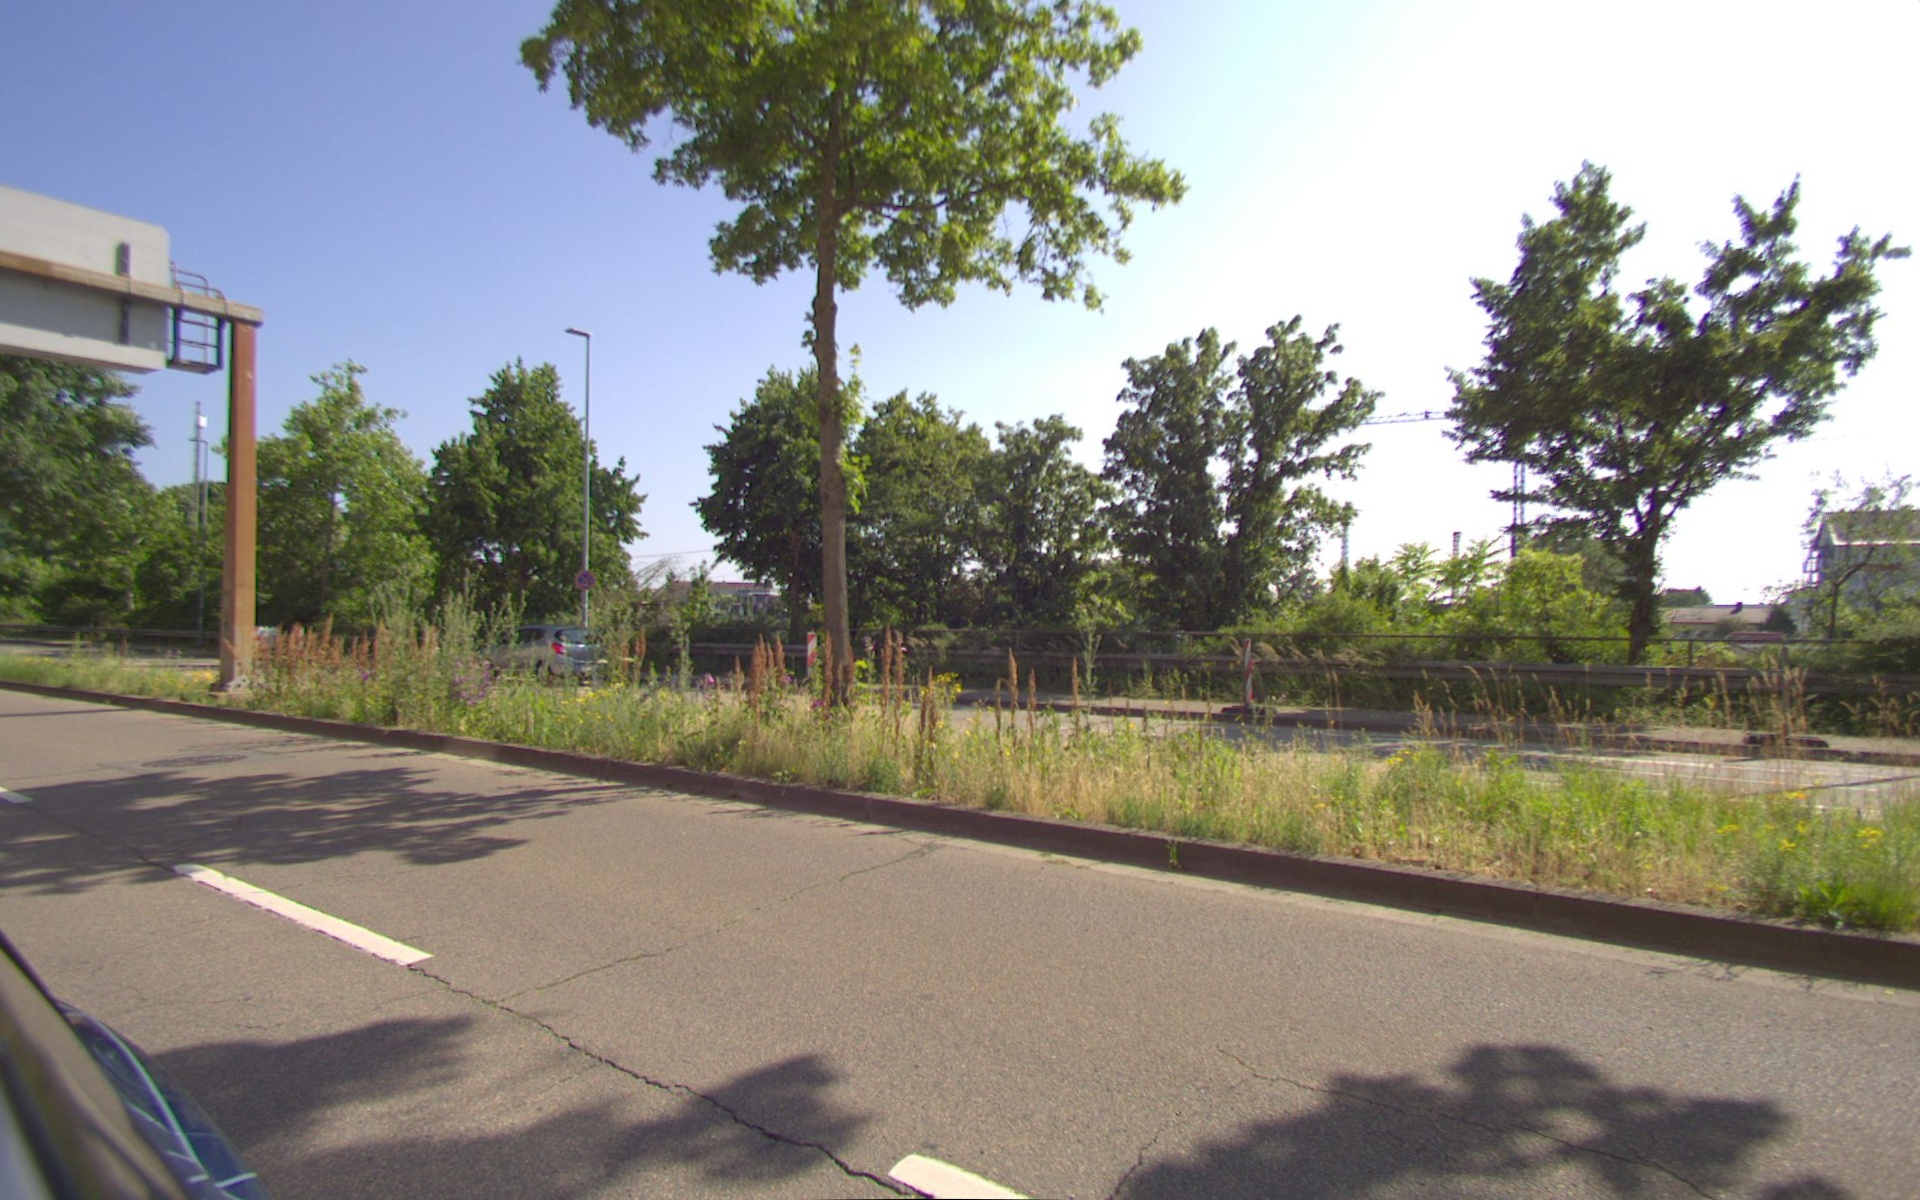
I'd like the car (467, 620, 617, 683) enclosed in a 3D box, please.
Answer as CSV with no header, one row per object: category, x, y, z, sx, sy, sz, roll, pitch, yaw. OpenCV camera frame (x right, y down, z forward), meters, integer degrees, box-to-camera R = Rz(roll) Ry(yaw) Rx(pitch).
car,-10.379,1.212,25.029,3.963,1.427,1.630,-1,-1,37
